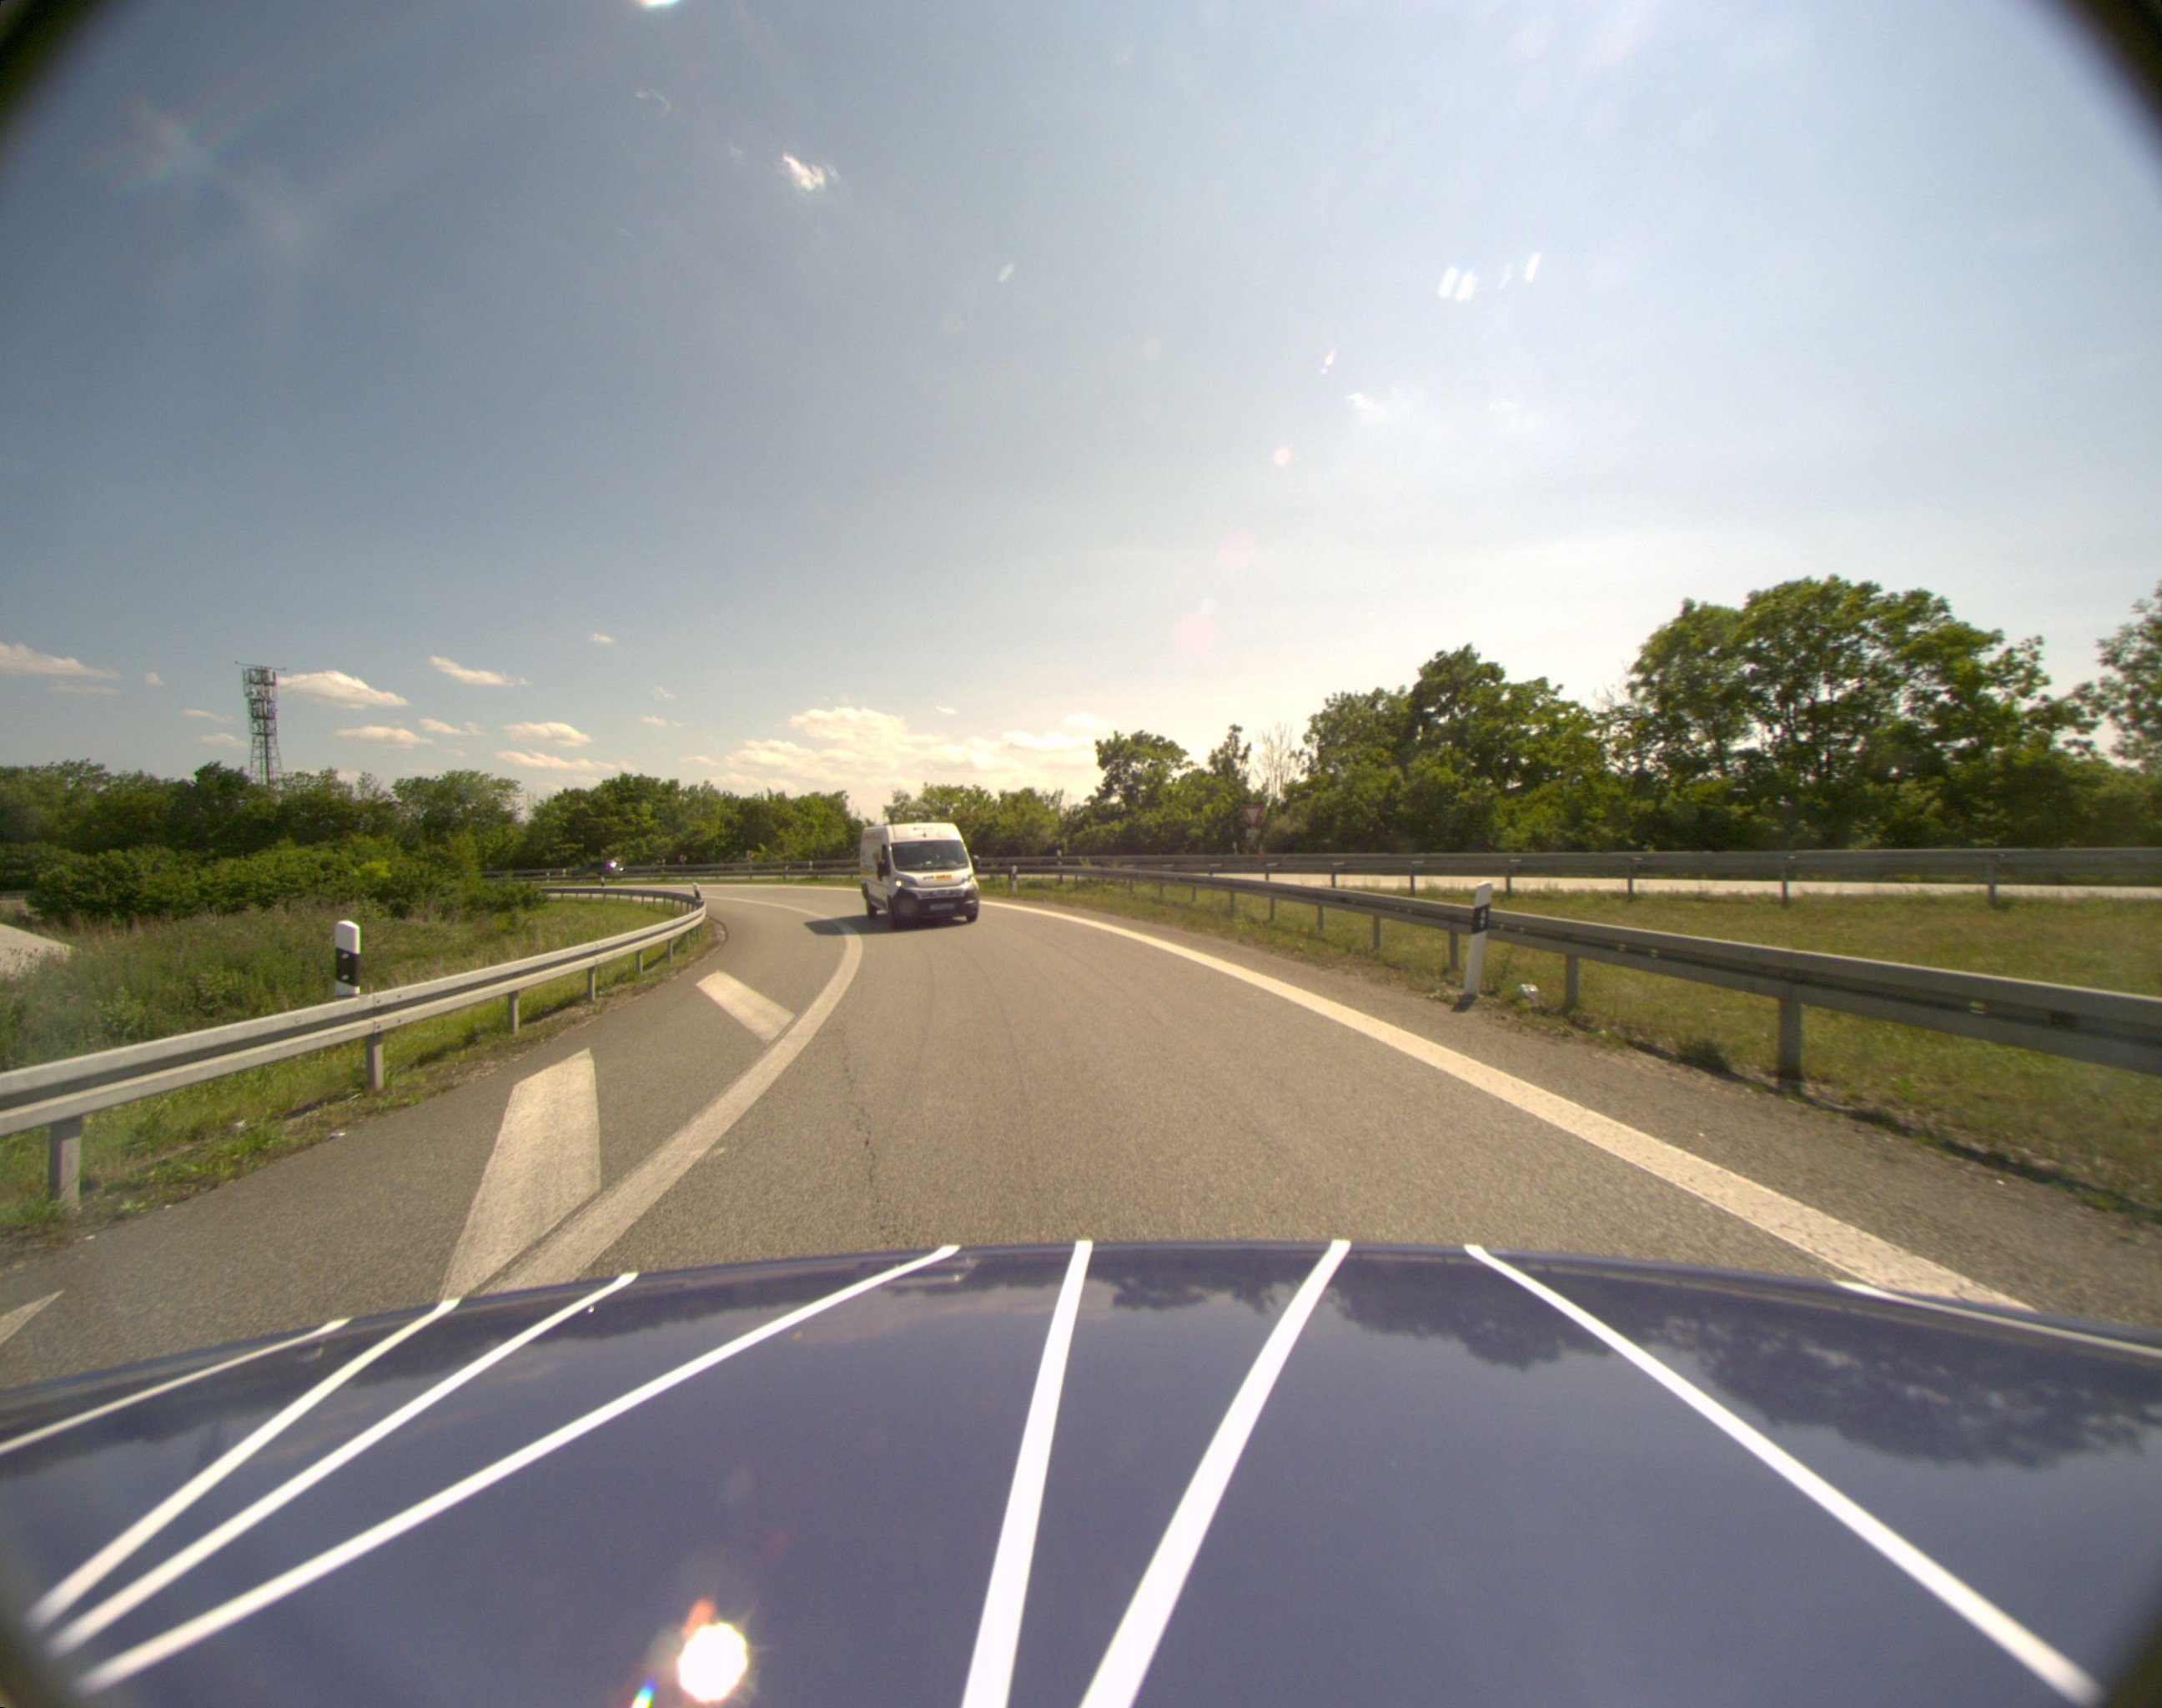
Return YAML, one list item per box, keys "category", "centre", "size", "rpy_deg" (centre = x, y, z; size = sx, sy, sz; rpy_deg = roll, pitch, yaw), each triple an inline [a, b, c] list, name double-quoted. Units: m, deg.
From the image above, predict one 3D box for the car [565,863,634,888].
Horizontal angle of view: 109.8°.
- category: "car"
  centre: [-40.871, 1.823, 64.475]
  size: [5.187, 1.721, 2.002]
  rpy_deg: [-3, 2, 18]

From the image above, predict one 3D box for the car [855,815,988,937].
- category: "car"
  centre: [-4.384, 0.467, 19.861]
  size: [2.090, 2.510, 6.225]
  rpy_deg: [-6, 2, -22]
